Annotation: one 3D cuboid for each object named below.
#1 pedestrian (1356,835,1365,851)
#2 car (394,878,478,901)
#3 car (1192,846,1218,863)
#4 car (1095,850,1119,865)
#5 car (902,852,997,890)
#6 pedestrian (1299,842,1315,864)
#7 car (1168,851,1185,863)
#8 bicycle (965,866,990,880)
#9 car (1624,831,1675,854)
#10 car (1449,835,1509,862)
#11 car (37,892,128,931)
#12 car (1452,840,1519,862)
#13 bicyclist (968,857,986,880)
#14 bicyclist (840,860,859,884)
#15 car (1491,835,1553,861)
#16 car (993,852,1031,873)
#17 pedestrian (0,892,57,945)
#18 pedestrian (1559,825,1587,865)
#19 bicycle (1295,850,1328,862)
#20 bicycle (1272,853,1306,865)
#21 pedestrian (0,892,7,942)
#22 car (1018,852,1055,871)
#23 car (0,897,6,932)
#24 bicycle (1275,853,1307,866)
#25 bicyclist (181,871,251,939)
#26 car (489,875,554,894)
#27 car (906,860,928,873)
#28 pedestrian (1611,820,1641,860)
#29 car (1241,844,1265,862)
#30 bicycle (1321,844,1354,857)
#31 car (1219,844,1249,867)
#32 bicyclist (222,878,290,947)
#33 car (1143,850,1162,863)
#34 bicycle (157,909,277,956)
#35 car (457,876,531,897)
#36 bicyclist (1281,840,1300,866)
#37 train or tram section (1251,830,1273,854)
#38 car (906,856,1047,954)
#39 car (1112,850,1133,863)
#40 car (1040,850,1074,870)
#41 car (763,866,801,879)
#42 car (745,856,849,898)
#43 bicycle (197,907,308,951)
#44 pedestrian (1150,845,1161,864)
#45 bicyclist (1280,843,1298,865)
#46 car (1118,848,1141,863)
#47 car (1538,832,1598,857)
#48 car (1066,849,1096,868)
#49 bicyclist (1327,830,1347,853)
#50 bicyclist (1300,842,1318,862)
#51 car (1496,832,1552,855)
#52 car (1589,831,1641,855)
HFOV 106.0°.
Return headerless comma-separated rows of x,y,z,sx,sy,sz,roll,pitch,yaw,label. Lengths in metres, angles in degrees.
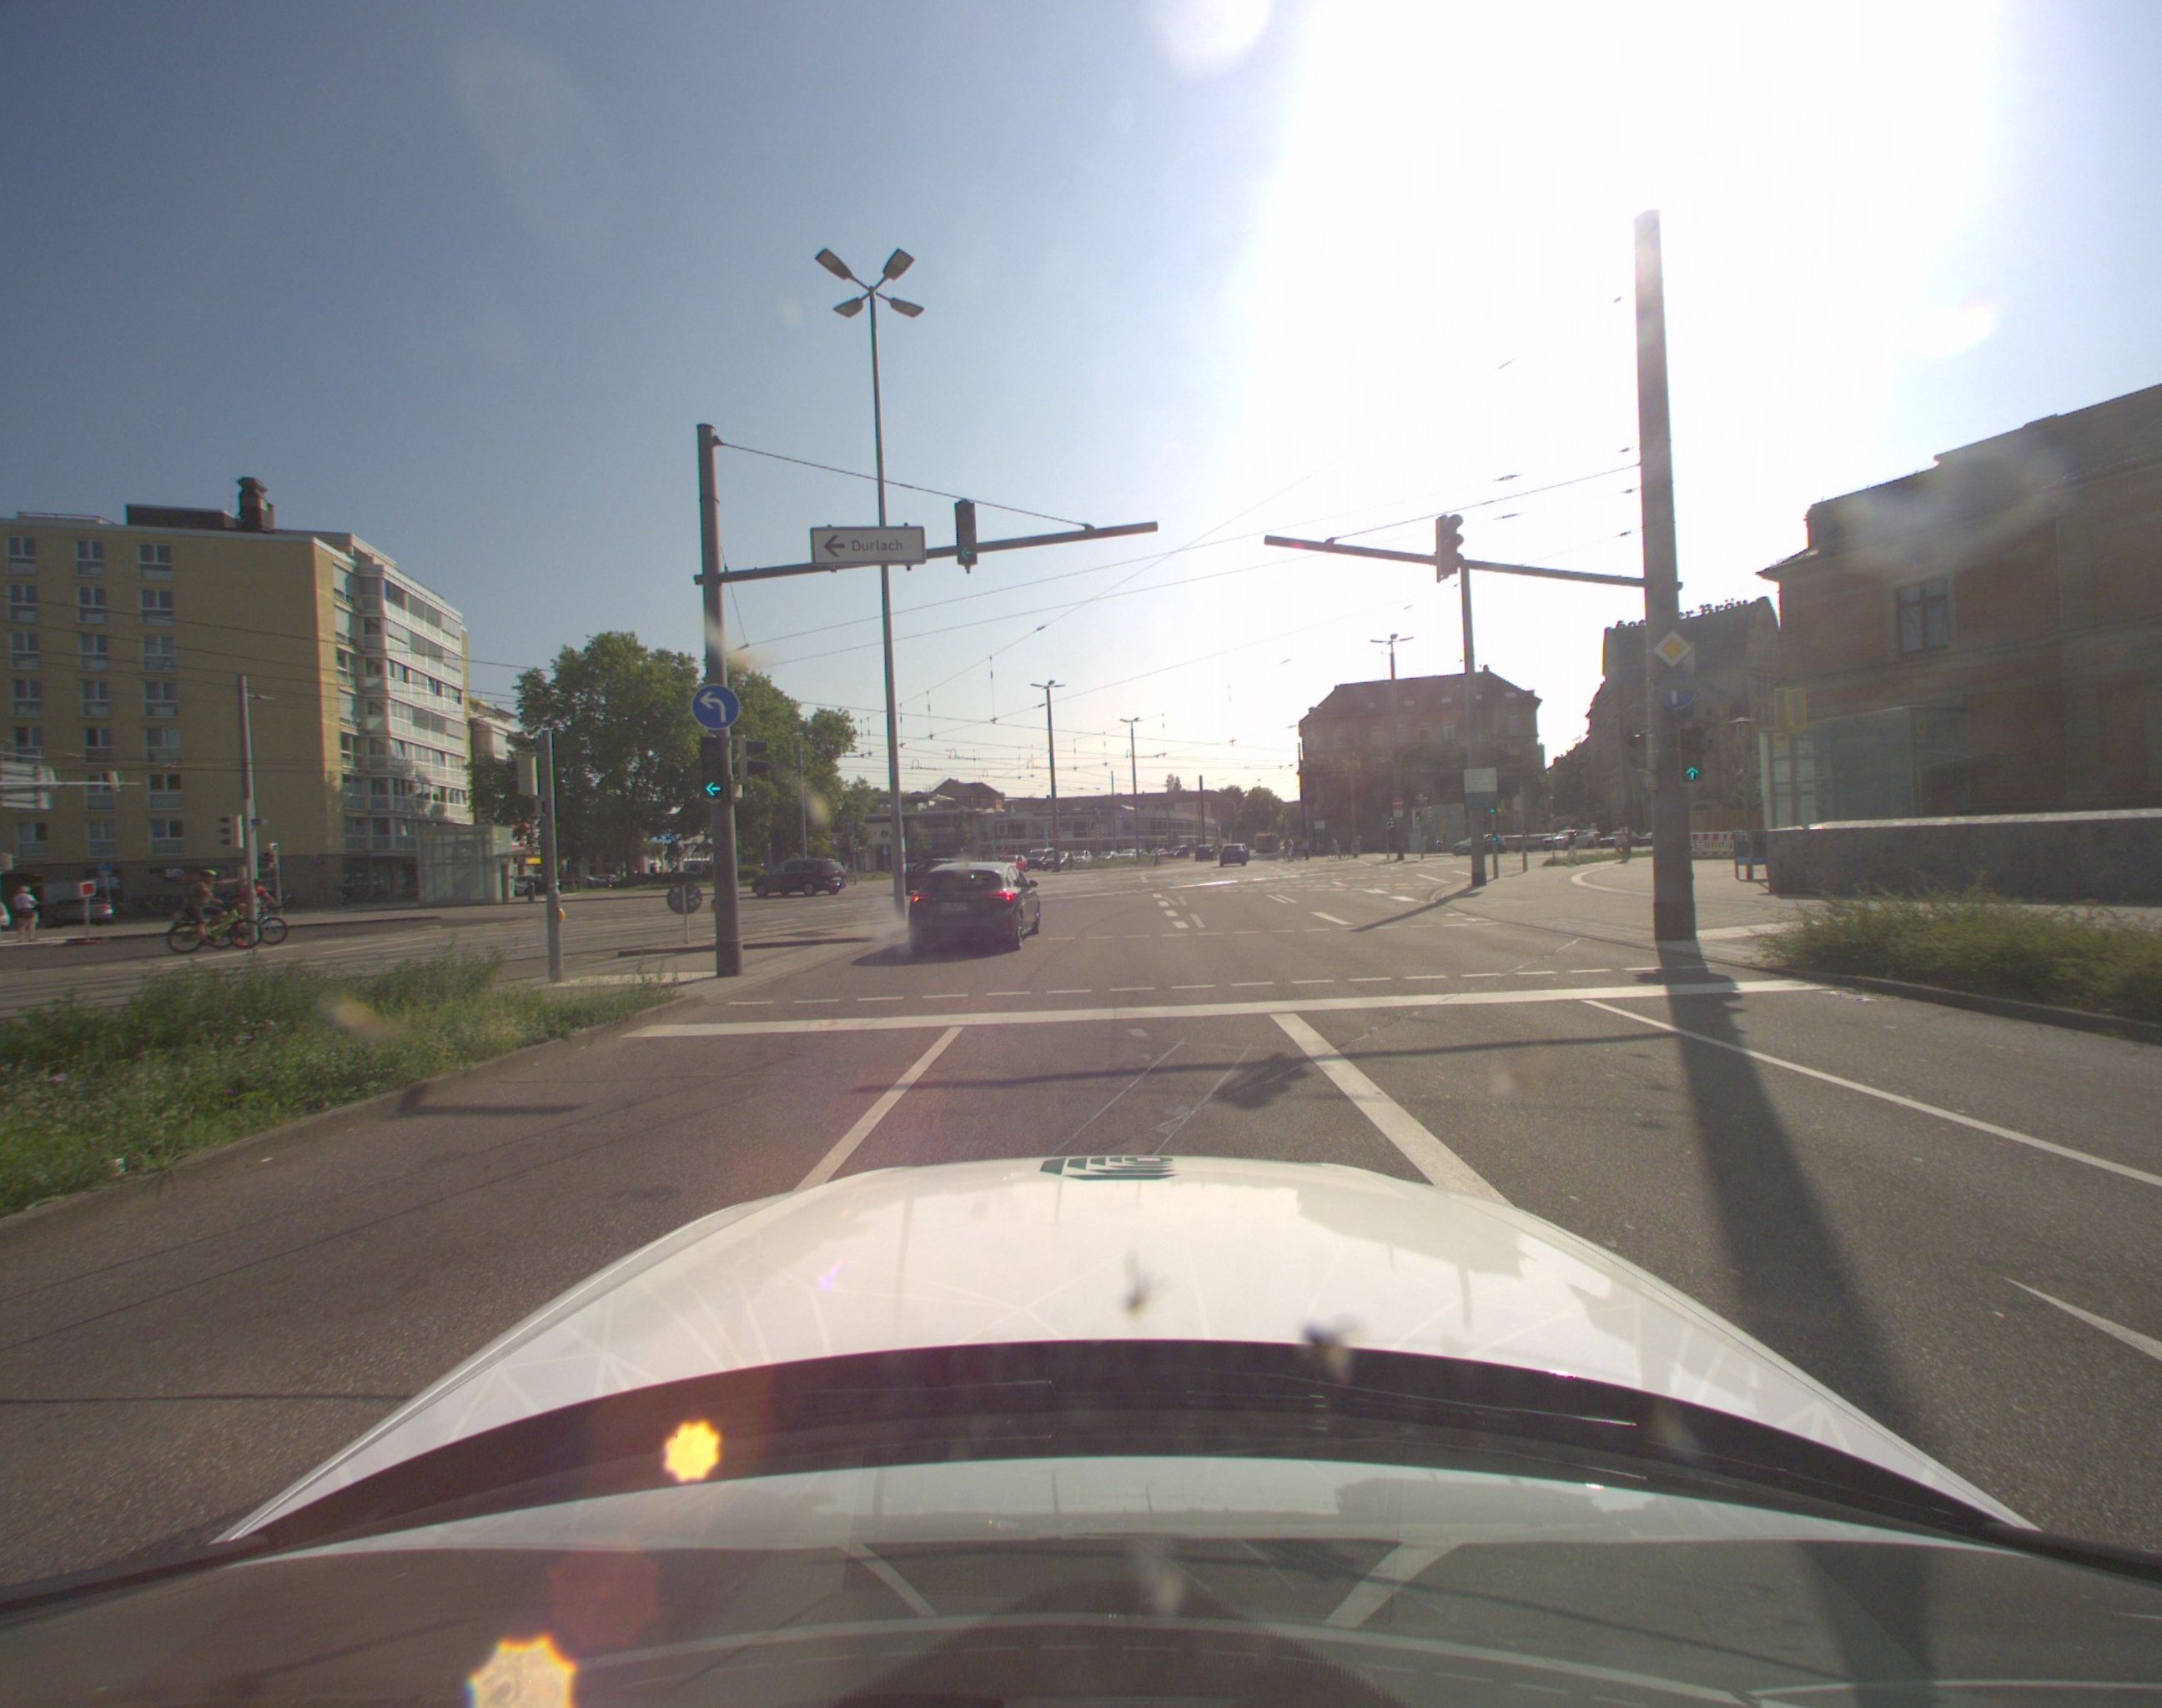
25.481,-1.008,74.242,0.672,1.471,0.540,-2,0,-44,pedestrian
-43.754,2.404,55.325,4.169,1.354,1.472,-2,0,-19,car
12.246,0.056,80.135,1.811,1.535,4.432,-3,0,17,car
2.903,0.413,90.816,1.602,1.475,4.018,-4,-1,16,car
-5.768,0.769,35.507,4.316,1.491,1.699,-2,0,42,car
18.721,-0.086,67.349,0.933,1.797,0.849,-2,0,-41,pedestrian
13.187,0.457,112.077,1.602,1.475,4.018,-4,-1,16,car
-8.248,1.503,64.948,0.950,1.057,2.619,-2,0,16,bicycle
50.010,-1.039,71.606,4.261,1.859,1.893,-2,0,-28,car
30.297,-0.435,61.991,4.261,1.859,1.893,-2,0,-28,car
-48.913,2.801,39.874,4.492,1.678,2.012,-2,0,29,car
28.747,-0.248,57.876,4.398,1.397,2.005,-2,0,-28,car
-8.290,1.139,64.845,0.950,1.748,1.171,-2,0,16,bicyclist
-15.804,1.224,55.713,1.164,1.527,0.956,-2,0,-14,bicyclist
34.654,-0.465,63.967,4.718,1.859,1.894,-2,0,-26,car
-5.484,0.678,65.045,1.602,1.475,4.017,-4,-1,15,car
-35.360,2.146,27.274,0.924,1.690,0.917,-2,0,-17,pedestrian
21.707,-0.391,35.901,0.910,1.690,0.843,-2,0,37,pedestrian
19.781,0.173,69.973,2.630,0.964,1.084,-2,0,-24,bicycle
17.468,0.420,68.397,2.630,0.964,1.084,-2,0,-24,bicycle
-36.865,2.154,27.116,0.924,1.690,0.917,-2,0,-17,pedestrian
-3.917,0.639,72.236,1.946,1.475,4.017,-4,-1,15,car
-53.731,2.959,38.827,4.494,1.678,2.012,-2,0,25,car
17.056,0.439,66.120,2.639,0.964,1.081,-3,0,-37,bicycle
-20.389,1.186,19.212,0.794,1.527,0.723,-2,0,-11,bicyclist
-46.882,2.531,68.334,4.169,1.354,1.568,-2,0,-19,car
-20.932,1.597,104.140,1.691,1.522,4.105,-2,0,5,car
23.914,-0.619,35.731,0.911,1.690,0.931,-2,0,40,pedestrian
15.347,-0.141,72.547,1.812,1.428,4.430,-3,0,15,car
20.218,-0.290,64.137,2.639,0.964,1.081,-3,0,-37,bicycle
10.807,0.064,57.401,1.812,1.428,4.429,-3,0,14,car
-20.670,1.450,20.419,0.882,1.652,0.723,-2,0,-11,bicyclist
9.191,0.338,104.746,1.602,1.475,4.018,-4,-1,16,car
-20.344,1.836,19.213,1.814,0.932,0.723,-2,0,-12,bicycle
-44.431,2.444,61.739,4.169,1.354,1.568,-2,0,-19,car
16.997,-0.103,66.097,0.941,2.024,1.081,-2,0,-37,bicyclist
29.579,-1.993,132.780,2.635,3.699,10.634,-3,0,16,train or tram section
-1.713,0.788,14.837,1.825,1.435,4.551,-2,0,1,car
4.997,0.269,97.903,1.602,1.475,4.018,-4,-1,16,car
-1.927,0.449,67.255,1.602,1.475,4.017,-4,-1,15,car
-38.531,2.375,105.064,1.683,1.522,4.544,-2,0,32,car
-13.320,1.068,38.190,4.360,1.714,1.841,-3,0,21,car
-20.717,1.861,20.404,1.814,0.932,0.723,-2,0,-12,bicycle
6.198,0.024,67.790,0.774,1.503,0.711,-2,0,4,pedestrian
17.438,-0.001,68.388,0.938,1.799,1.084,-2,0,-23,bicyclist
5.317,0.191,88.775,1.602,1.475,4.018,-4,-1,16,car
39.567,-0.750,66.108,4.676,1.859,2.027,-2,0,-28,car
0.037,0.397,73.605,1.602,1.475,4.017,-4,-1,15,car
20.168,-0.982,64.114,0.941,1.708,1.081,-2,0,-37,bicyclist
19.591,-0.187,69.888,0.938,1.680,1.084,-2,0,-23,bicyclist
38.865,-0.929,71.426,4.272,1.859,1.919,-2,0,-19,car
45.458,-0.910,69.316,4.261,1.859,1.893,-2,0,-28,car
